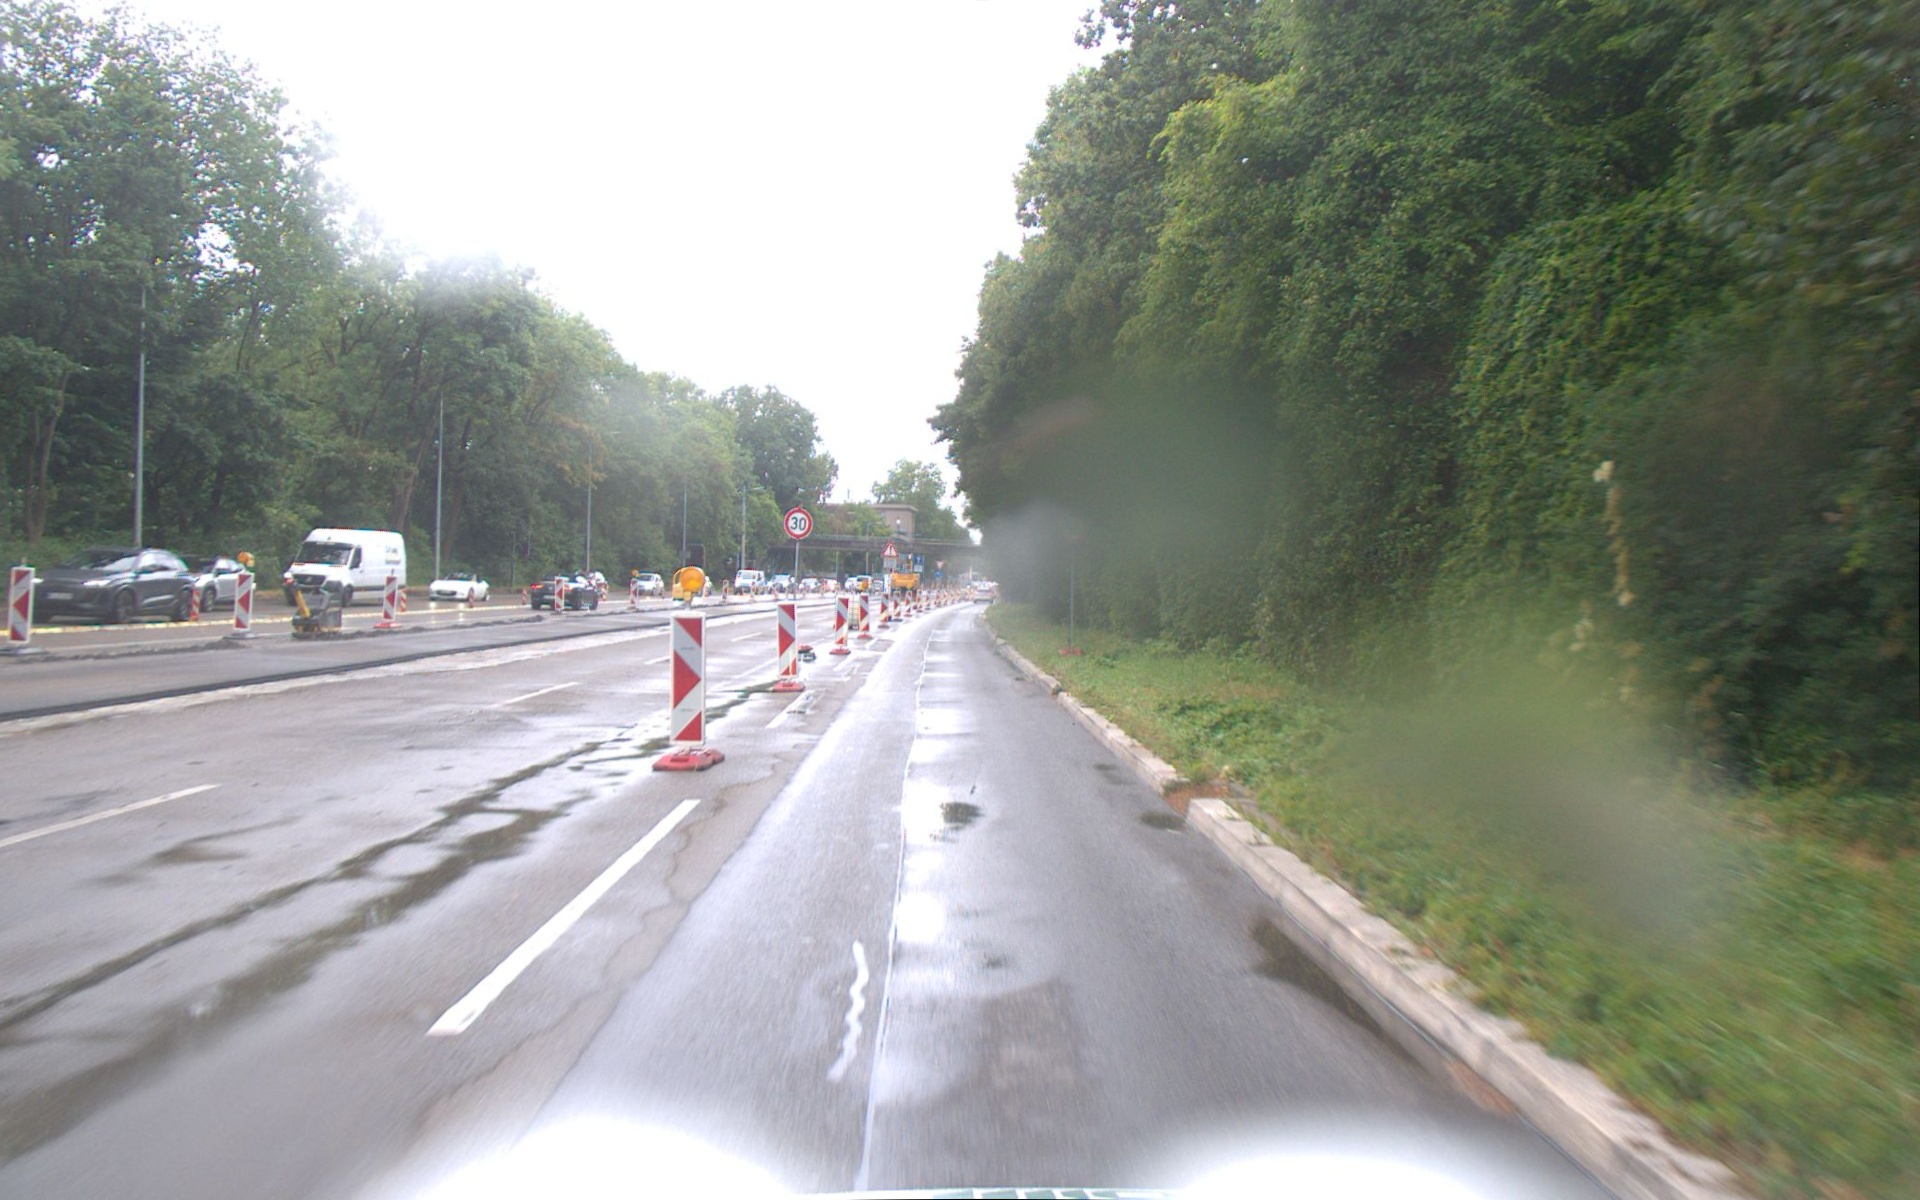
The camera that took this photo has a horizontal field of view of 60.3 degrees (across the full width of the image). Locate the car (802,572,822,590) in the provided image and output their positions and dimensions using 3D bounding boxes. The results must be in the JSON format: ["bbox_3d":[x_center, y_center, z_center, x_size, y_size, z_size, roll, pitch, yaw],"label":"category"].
[{"bbox_3d":[-15.561,-1.994,174.069,1.635,1.840,4.320,1,1,0],"label":"car"}]

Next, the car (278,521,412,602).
[{"bbox_3d":[-21.107,-1.306,57.136,2.056,2.624,6.854,1,1,0],"label":"car"}]

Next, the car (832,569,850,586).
[{"bbox_3d":[-13.580,-2.589,188.704,1.635,1.840,4.320,1,1,0],"label":"car"}]

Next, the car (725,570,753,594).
[{"bbox_3d":[-17.393,-1.399,130.418,1.635,1.840,4.320,1,1,0],"label":"car"}]

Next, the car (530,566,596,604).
[{"bbox_3d":[-15.415,-0.590,64.418,1.574,1.429,4.041,1,1,0],"label":"car"}]

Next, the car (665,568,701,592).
[{"bbox_3d":[-17.915,-1.301,107.113,1.635,1.511,4.320,1,1,0],"label":"car"}]

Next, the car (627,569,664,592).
[{"bbox_3d":[-20.783,-1.290,109.333,1.635,1.511,4.050,1,1,0],"label":"car"}]

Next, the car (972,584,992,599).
[{"bbox_3d":[2.060,-0.774,154.904,1.663,1.359,3.490,-1,1,-2],"label":"car"}]

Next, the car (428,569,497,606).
[{"bbox_3d":[-21.224,-0.548,70.702,1.635,1.511,4.320,1,1,0],"label":"car"}]

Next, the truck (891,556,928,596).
[{"bbox_3d":[-4.629,-2.254,153.890,3.193,3.558,13.868,1,1,-1],"label":"truck"}]

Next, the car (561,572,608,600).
[{"bbox_3d":[-21.359,-0.801,94.236,1.635,1.511,4.320,1,1,0],"label":"car"}]

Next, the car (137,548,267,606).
[{"bbox_3d":[-21.170,-0.645,46.370,1.635,1.511,4.320,1,1,0],"label":"car"}]

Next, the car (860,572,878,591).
[{"bbox_3d":[-9.672,-1.978,176.068,1.635,1.840,4.321,1,2,0],"label":"car"}]

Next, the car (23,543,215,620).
[{"bbox_3d":[-18.342,-0.409,36.329,1.919,1.557,4.437,1,1,0],"label":"car"}]

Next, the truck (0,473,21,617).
[{"bbox_3d":[-21.086,-1.122,31.695,2.200,2.991,6.935,1,1,0],"label":"truck"}]
